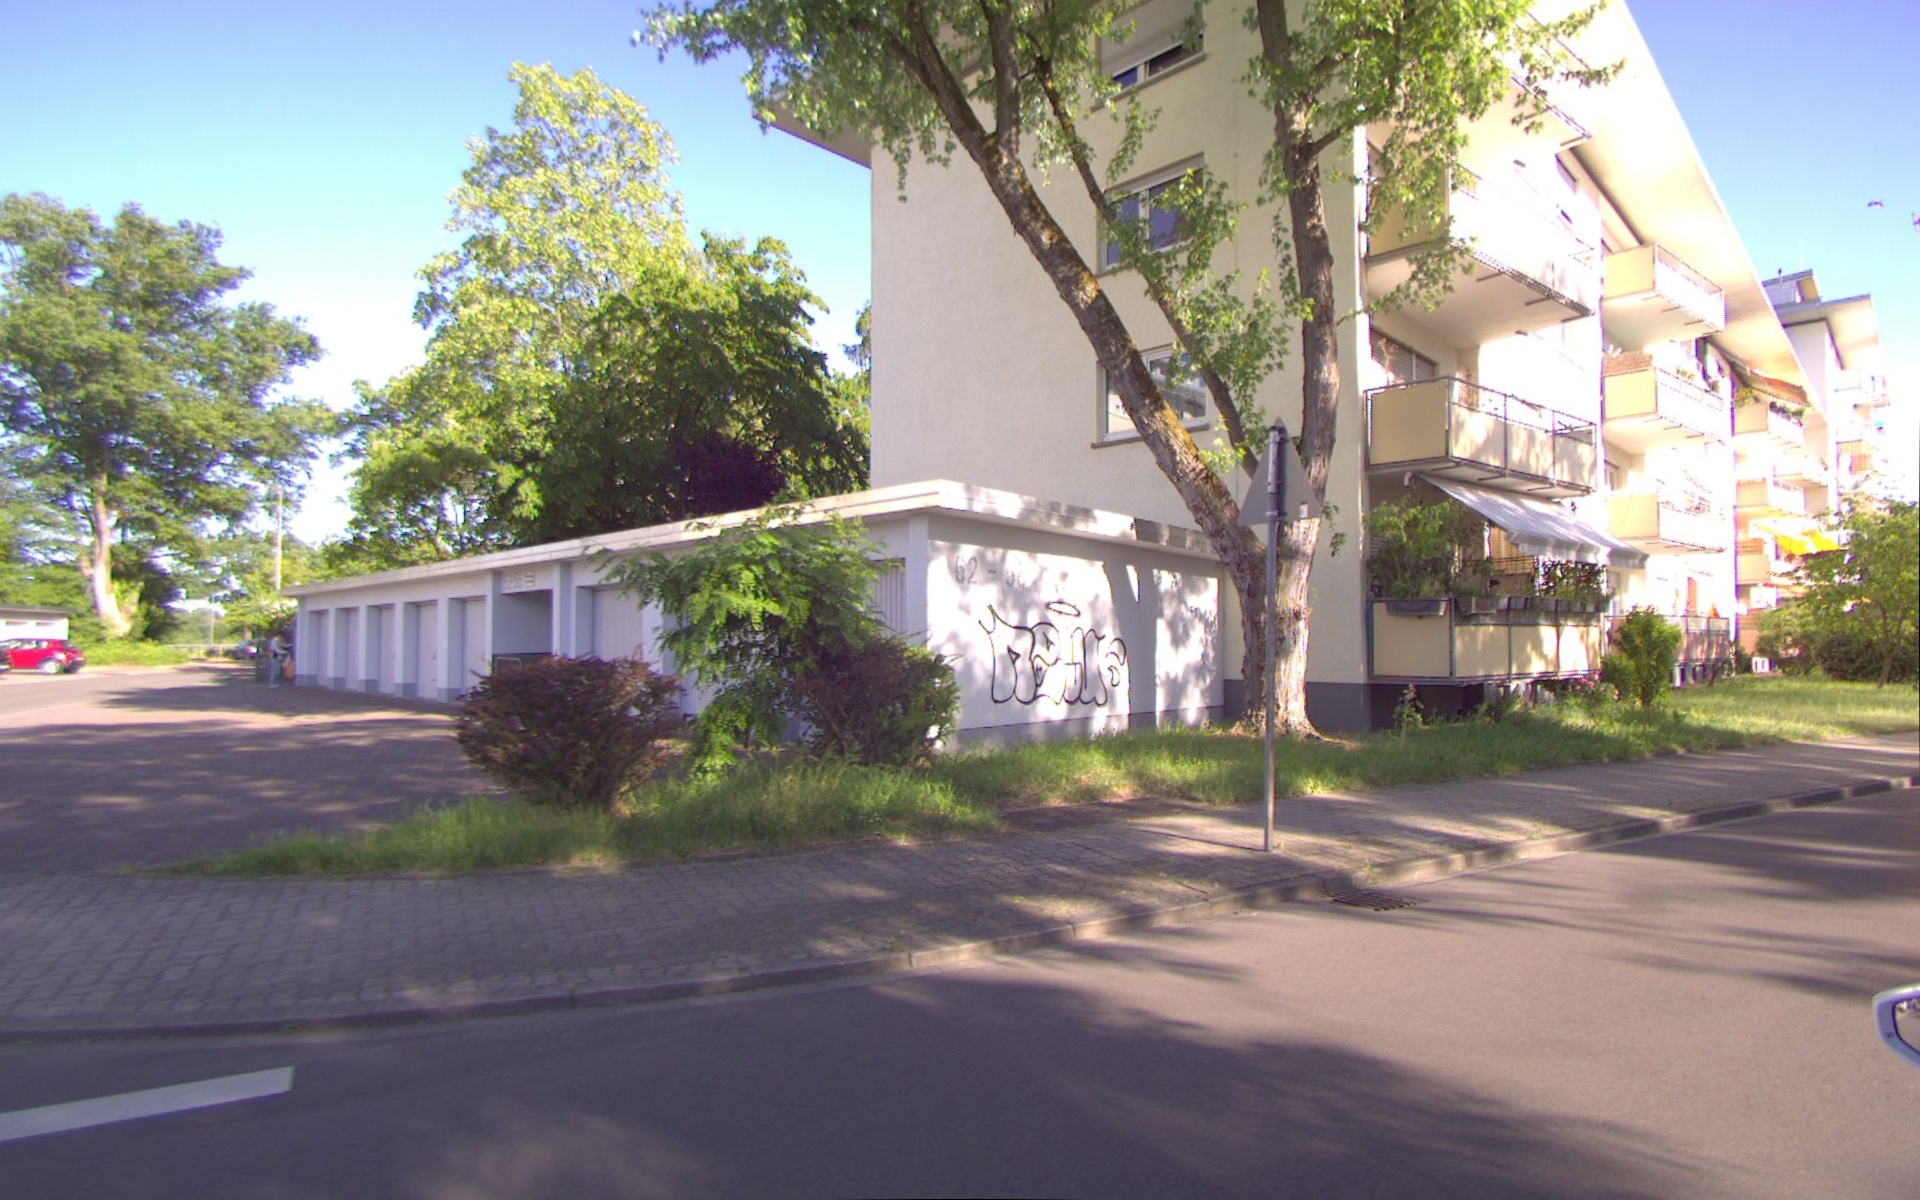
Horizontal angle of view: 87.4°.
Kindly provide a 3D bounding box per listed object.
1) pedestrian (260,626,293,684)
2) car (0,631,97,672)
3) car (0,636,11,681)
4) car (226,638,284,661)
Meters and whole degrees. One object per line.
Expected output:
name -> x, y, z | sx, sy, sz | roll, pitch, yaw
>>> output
pedestrian -> -19.897, 1.590, 29.231 | 0.528, 1.675, 0.553 | -1, -2, 17
car -> -37.646, 2.051, 40.483 | 3.953, 1.617, 1.984 | 1, -3, -30
car -> -35.717, 2.048, 34.621 | 3.953, 1.617, 1.984 | 1, -3, -30
car -> -50.407, 3.539, 71.807 | 4.102, 1.600, 1.995 | -2, -3, 34
